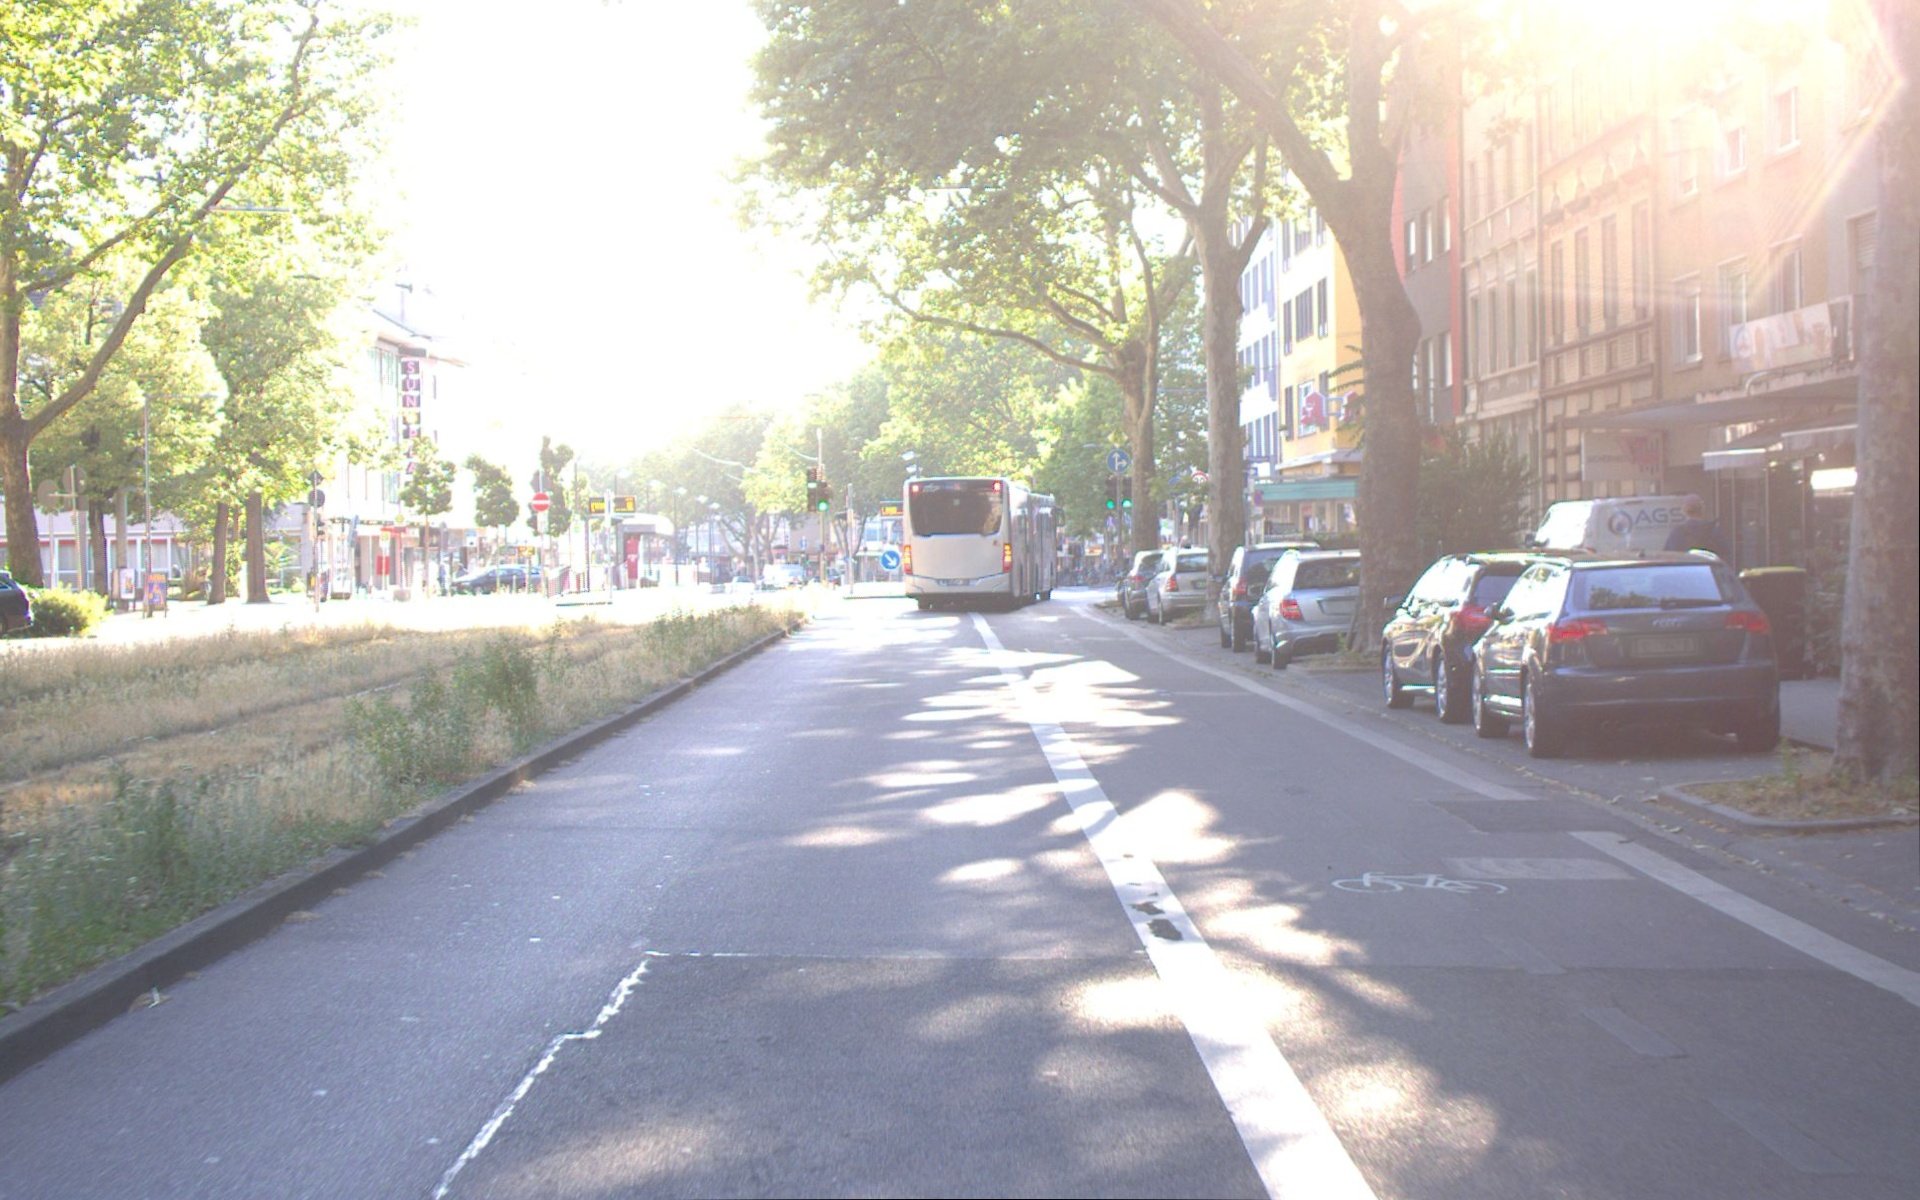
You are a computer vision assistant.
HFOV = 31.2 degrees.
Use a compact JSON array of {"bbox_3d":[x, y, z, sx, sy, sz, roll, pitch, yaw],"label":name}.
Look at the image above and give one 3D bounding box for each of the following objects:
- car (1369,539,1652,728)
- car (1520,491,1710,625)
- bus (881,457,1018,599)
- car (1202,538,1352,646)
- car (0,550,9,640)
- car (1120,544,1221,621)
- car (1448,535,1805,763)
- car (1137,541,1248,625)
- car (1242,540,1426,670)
[{"bbox_3d":[4.746,0.239,30.146,1.781,1.510,4.000,-1,1,-1],"label":"car"},{"bbox_3d":[9.533,-0.598,50.341,1.883,1.853,4.326,-1,0,-1],"label":"car"},{"bbox_3d":[-0.340,-1.670,82.990,2.833,3.224,8.183,-1,0,-3],"label":"bus"},{"bbox_3d":[4.663,-0.146,51.037,1.781,1.510,4.000,-1,1,-1],"label":"car"},{"bbox_3d":[-20.640,-0.075,65.838,4.300,1.732,1.858,-1,0,-41],"label":"car"},{"bbox_3d":[4.377,-0.388,71.960,1.781,1.510,4.000,-1,1,-1],"label":"car"},{"bbox_3d":[4.796,0.293,25.262,1.781,1.510,4.000,-1,1,-1],"label":"car"},{"bbox_3d":[4.398,-0.351,65.608,1.781,1.510,4.000,-1,1,-1],"label":"car"},{"bbox_3d":[4.616,0.023,42.911,1.781,1.510,4.000,-1,1,-1],"label":"car"}]
